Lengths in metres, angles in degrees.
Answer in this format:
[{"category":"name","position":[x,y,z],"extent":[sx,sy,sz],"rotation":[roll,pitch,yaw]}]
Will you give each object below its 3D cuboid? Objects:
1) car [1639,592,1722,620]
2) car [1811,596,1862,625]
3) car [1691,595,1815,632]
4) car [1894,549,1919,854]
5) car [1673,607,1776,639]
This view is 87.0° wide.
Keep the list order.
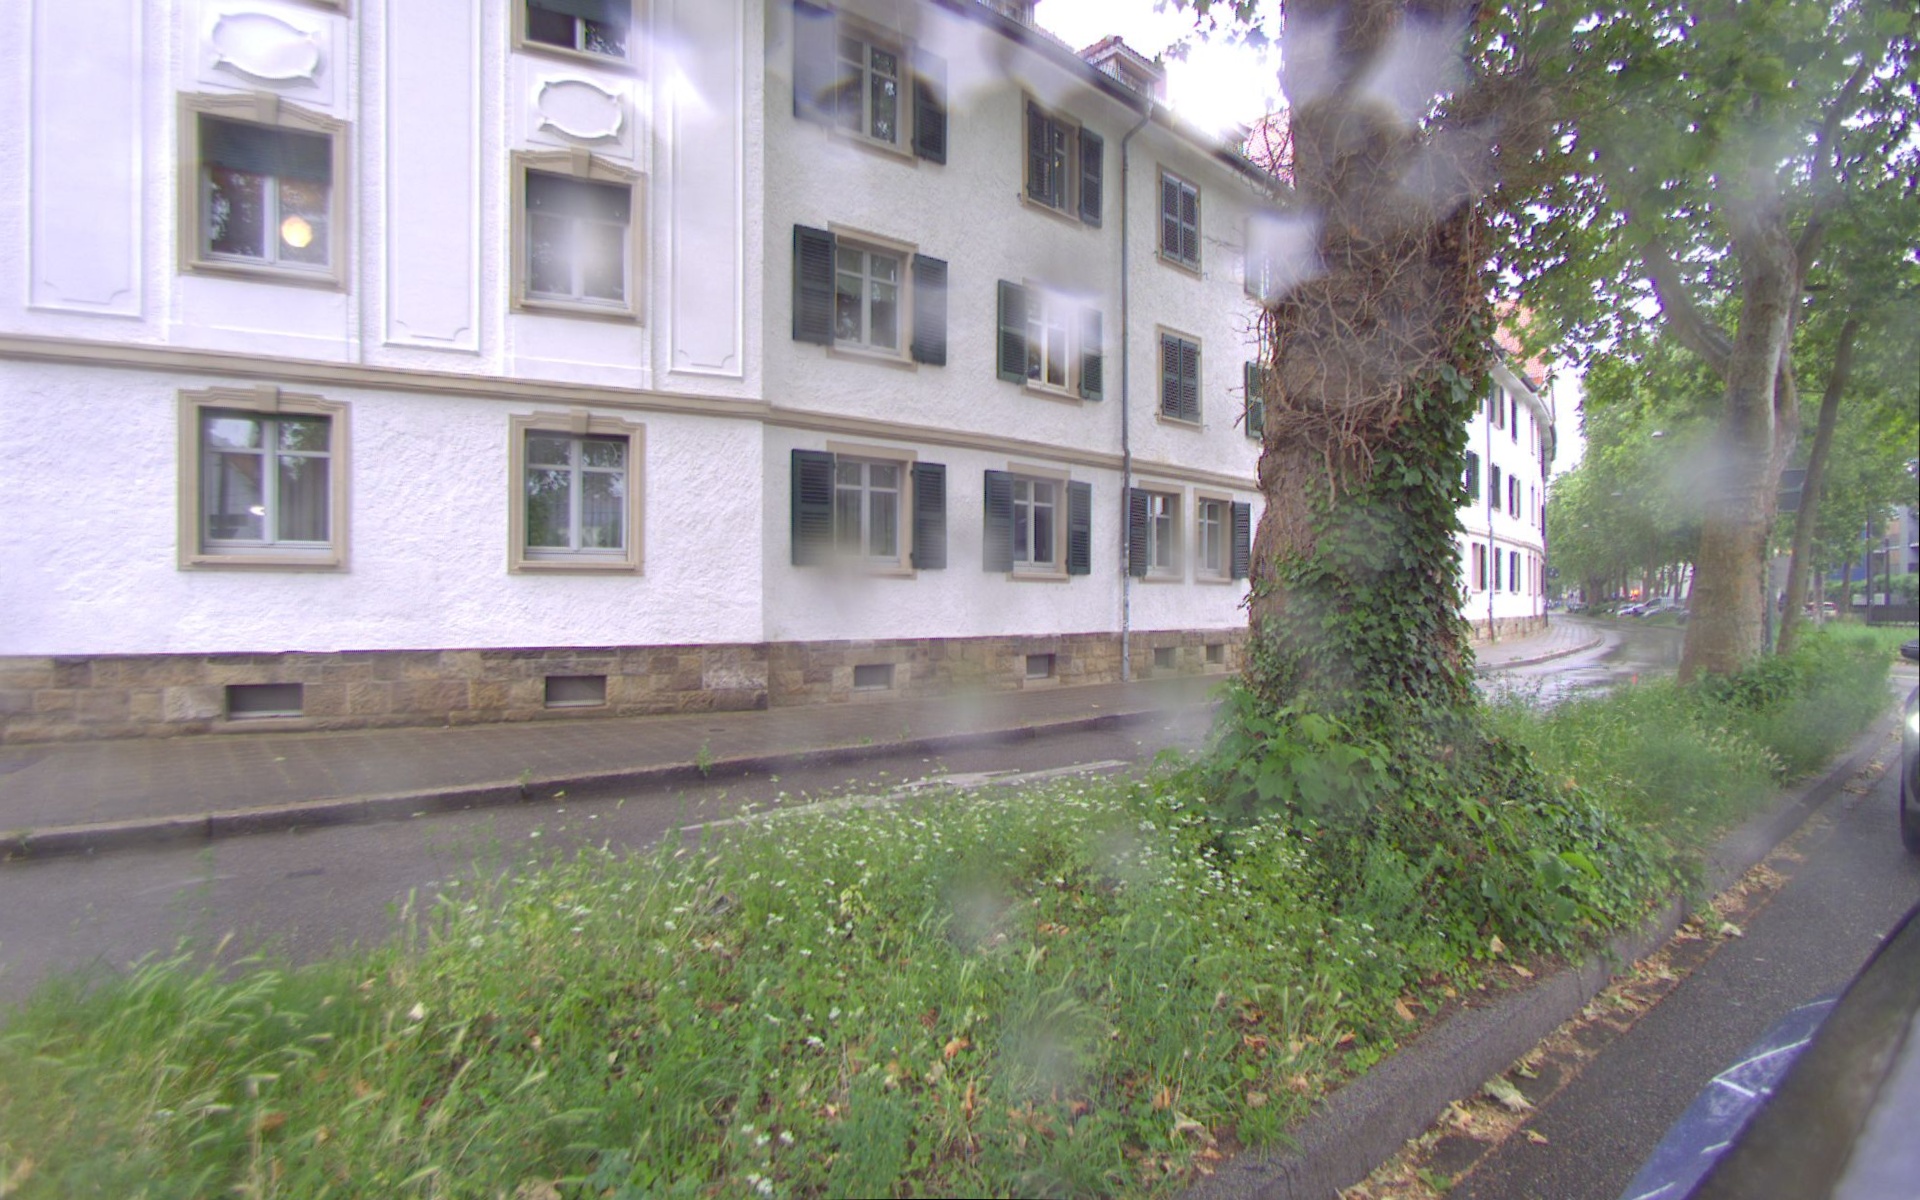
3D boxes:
[{"category":"car","position":[56.605,0.427,79.585],"extent":[1.960,2.039,4.899],"rotation":[1,1,-30]},{"category":"car","position":[57.769,0.660,66.760],"extent":[1.677,1.745,3.656],"rotation":[2,1,28]},{"category":"car","position":[37.871,0.622,48.446],"extent":[1.892,1.560,4.236],"rotation":[1,1,-30]},{"category":"car","position":[7.210,0.548,5.988],"extent":[4.139,1.616,1.851],"rotation":[0,0,-38]},{"category":"car","position":[43.579,1.271,57.764],"extent":[1.715,1.632,4.335],"rotation":[1,1,-35]}]
